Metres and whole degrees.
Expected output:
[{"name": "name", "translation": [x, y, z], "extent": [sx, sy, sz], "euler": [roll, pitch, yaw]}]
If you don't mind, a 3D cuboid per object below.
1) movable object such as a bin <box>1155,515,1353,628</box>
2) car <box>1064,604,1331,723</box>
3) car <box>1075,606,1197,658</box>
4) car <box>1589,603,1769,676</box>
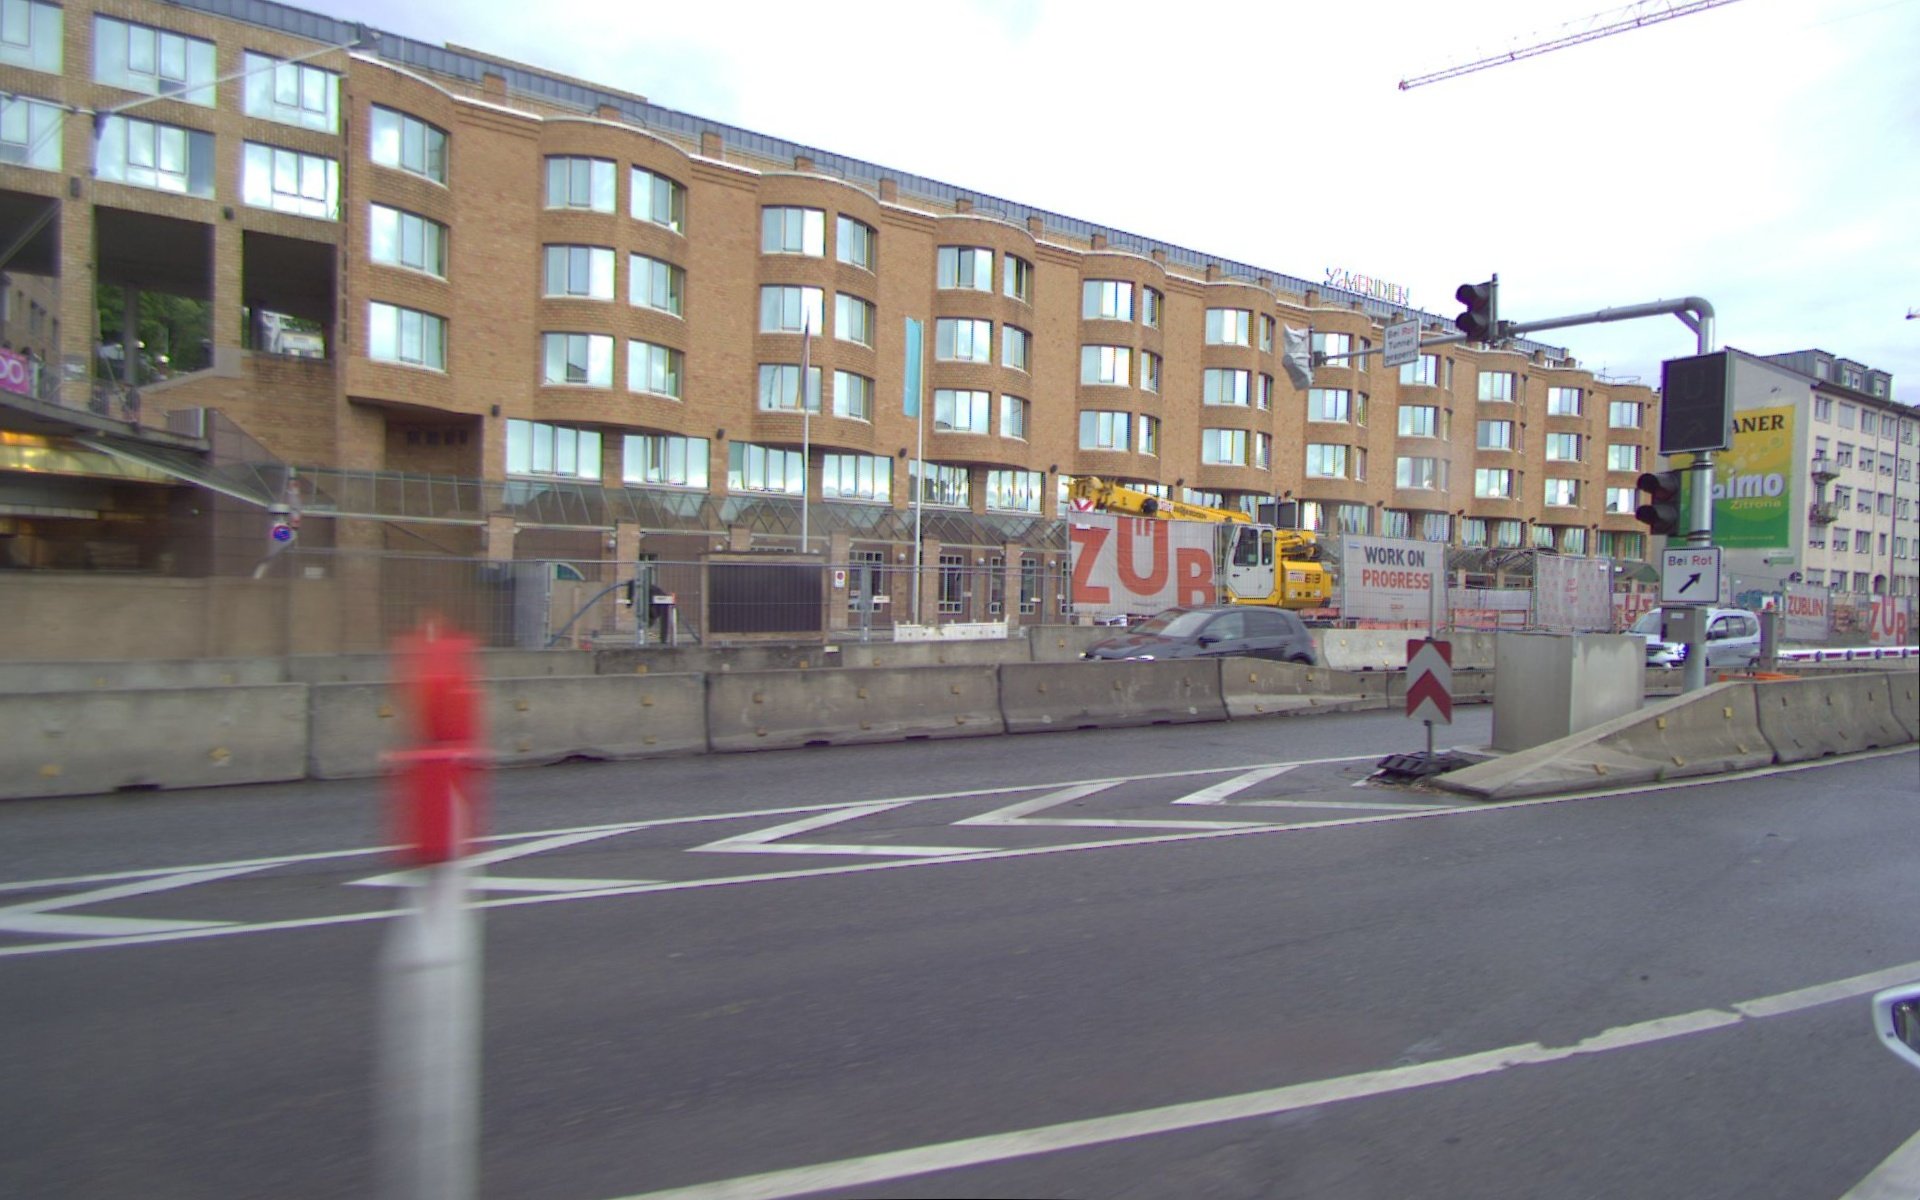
[{"name": "movable object such as a bin", "translation": [6.714, -0.539, 22.832], "extent": [4.246, 2.307, 2.015], "euler": [1, -3, -33]}, {"name": "car", "translation": [3.814, 0.914, 16.089], "extent": [3.982, 1.645, 1.799], "euler": [0, 1, -28]}, {"name": "car", "translation": [6.257, 1.138, 35.575], "extent": [3.955, 1.715, 1.983], "euler": [1, -3, -32]}, {"name": "car", "translation": [16.908, 0.870, 23.589], "extent": [4.469, 1.570, 1.739], "euler": [1, 0, -30]}]
